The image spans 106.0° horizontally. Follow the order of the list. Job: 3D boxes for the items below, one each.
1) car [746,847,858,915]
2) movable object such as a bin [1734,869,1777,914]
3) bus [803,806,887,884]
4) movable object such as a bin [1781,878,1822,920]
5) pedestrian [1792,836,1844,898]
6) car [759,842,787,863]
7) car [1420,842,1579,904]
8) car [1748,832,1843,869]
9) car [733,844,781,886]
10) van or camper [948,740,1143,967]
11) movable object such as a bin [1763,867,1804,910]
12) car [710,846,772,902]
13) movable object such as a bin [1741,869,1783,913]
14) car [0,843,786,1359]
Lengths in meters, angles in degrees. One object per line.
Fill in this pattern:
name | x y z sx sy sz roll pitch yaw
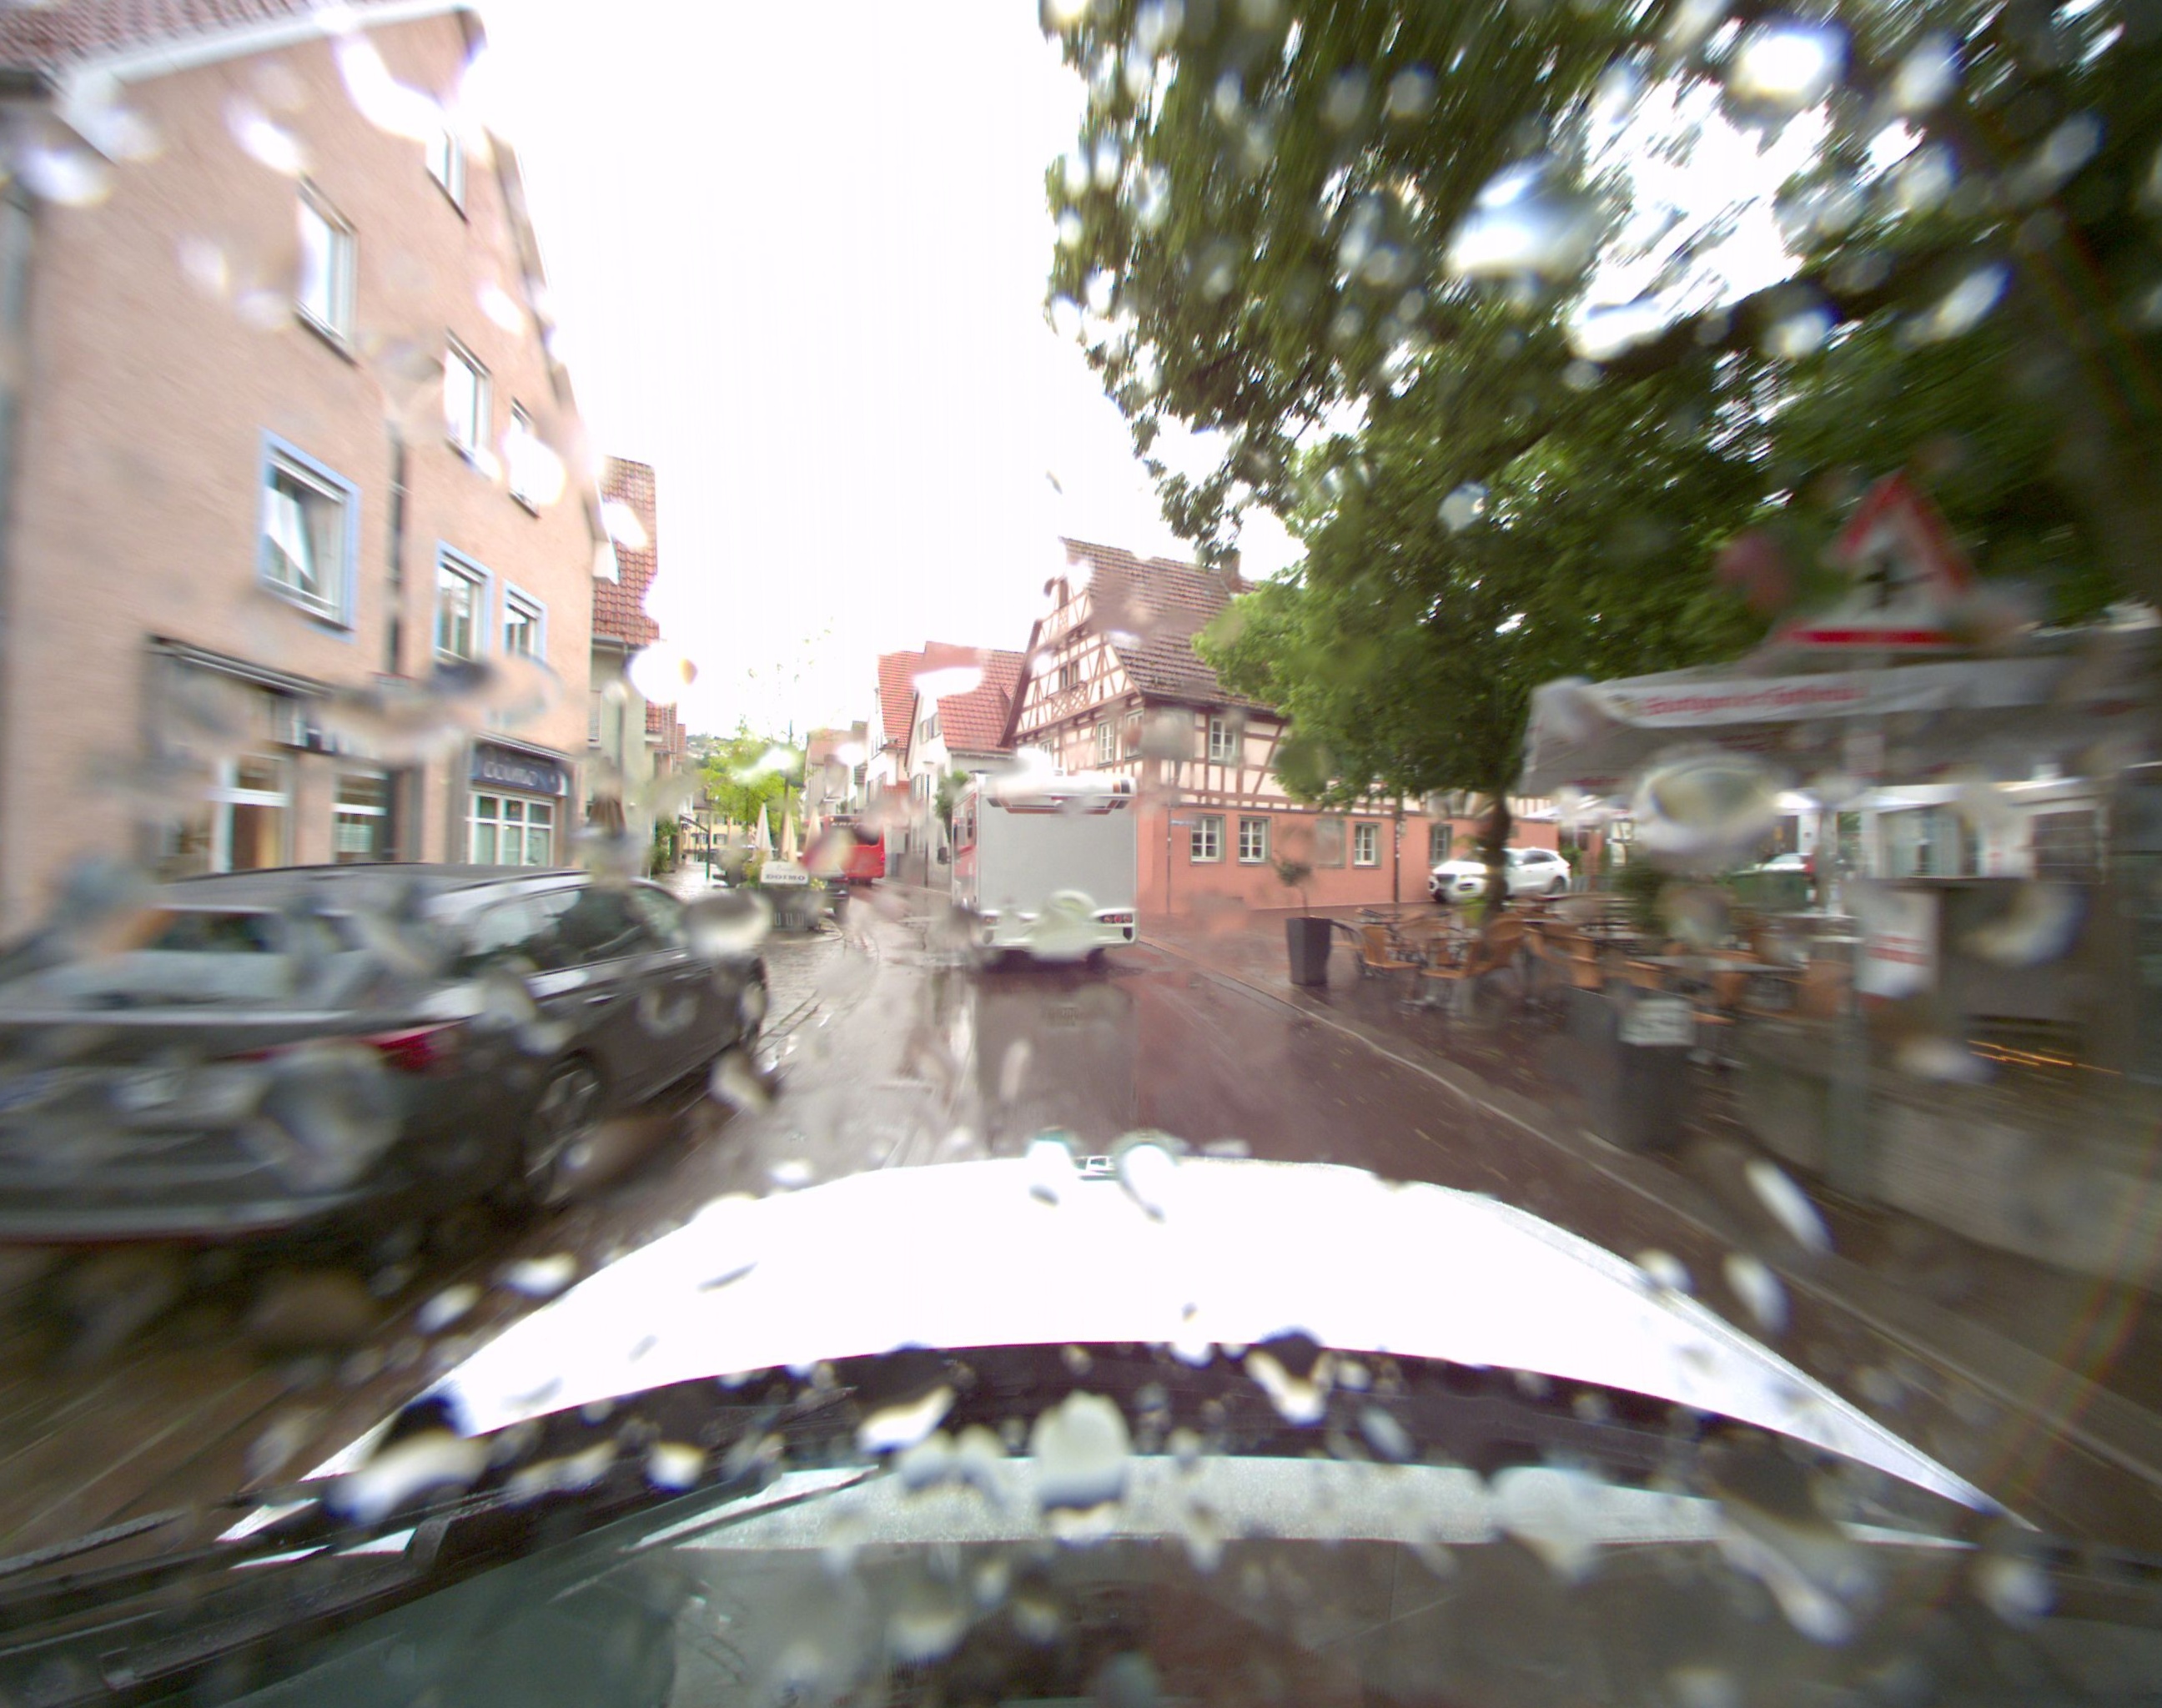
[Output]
car | -7.076 0.617 20.368 1.812 1.433 4.584 3 -1 -29
movable object such as a bin | 16.921 0.933 20.427 0.657 1.093 0.601 1 -1 -26
bus | -10.913 -0.310 37.229 2.654 3.227 6.546 0 -1 -26
movable object such as a bin | 19.156 1.179 21.656 0.657 1.093 0.601 1 -1 -26
pedestrian | 18.523 0.330 20.468 0.845 1.518 0.753 1 -1 -33
car | -31.122 -0.121 82.388 1.994 2.014 3.986 0 -1 -10
car | 12.413 0.529 24.130 4.476 1.631 1.928 0 2 -27
car | 31.233 -0.124 35.588 4.013 1.530 1.980 0 -1 -31
car | -14.236 0.500 35.673 1.779 1.675 4.444 2 -2 -23
van or camper | -0.950 0.043 13.867 2.327 2.919 6.366 0 -1 -12
movable object such as a bin | 18.366 0.897 21.289 0.657 1.093 0.601 1 -1 -26
car | -10.299 0.590 24.628 1.600 1.546 3.946 0 -1 -23
movable object such as a bin | 17.479 0.932 20.891 0.657 1.093 0.601 1 -1 -26
car | -3.240 0.730 4.483 1.991 1.454 4.365 0 -1 -6
